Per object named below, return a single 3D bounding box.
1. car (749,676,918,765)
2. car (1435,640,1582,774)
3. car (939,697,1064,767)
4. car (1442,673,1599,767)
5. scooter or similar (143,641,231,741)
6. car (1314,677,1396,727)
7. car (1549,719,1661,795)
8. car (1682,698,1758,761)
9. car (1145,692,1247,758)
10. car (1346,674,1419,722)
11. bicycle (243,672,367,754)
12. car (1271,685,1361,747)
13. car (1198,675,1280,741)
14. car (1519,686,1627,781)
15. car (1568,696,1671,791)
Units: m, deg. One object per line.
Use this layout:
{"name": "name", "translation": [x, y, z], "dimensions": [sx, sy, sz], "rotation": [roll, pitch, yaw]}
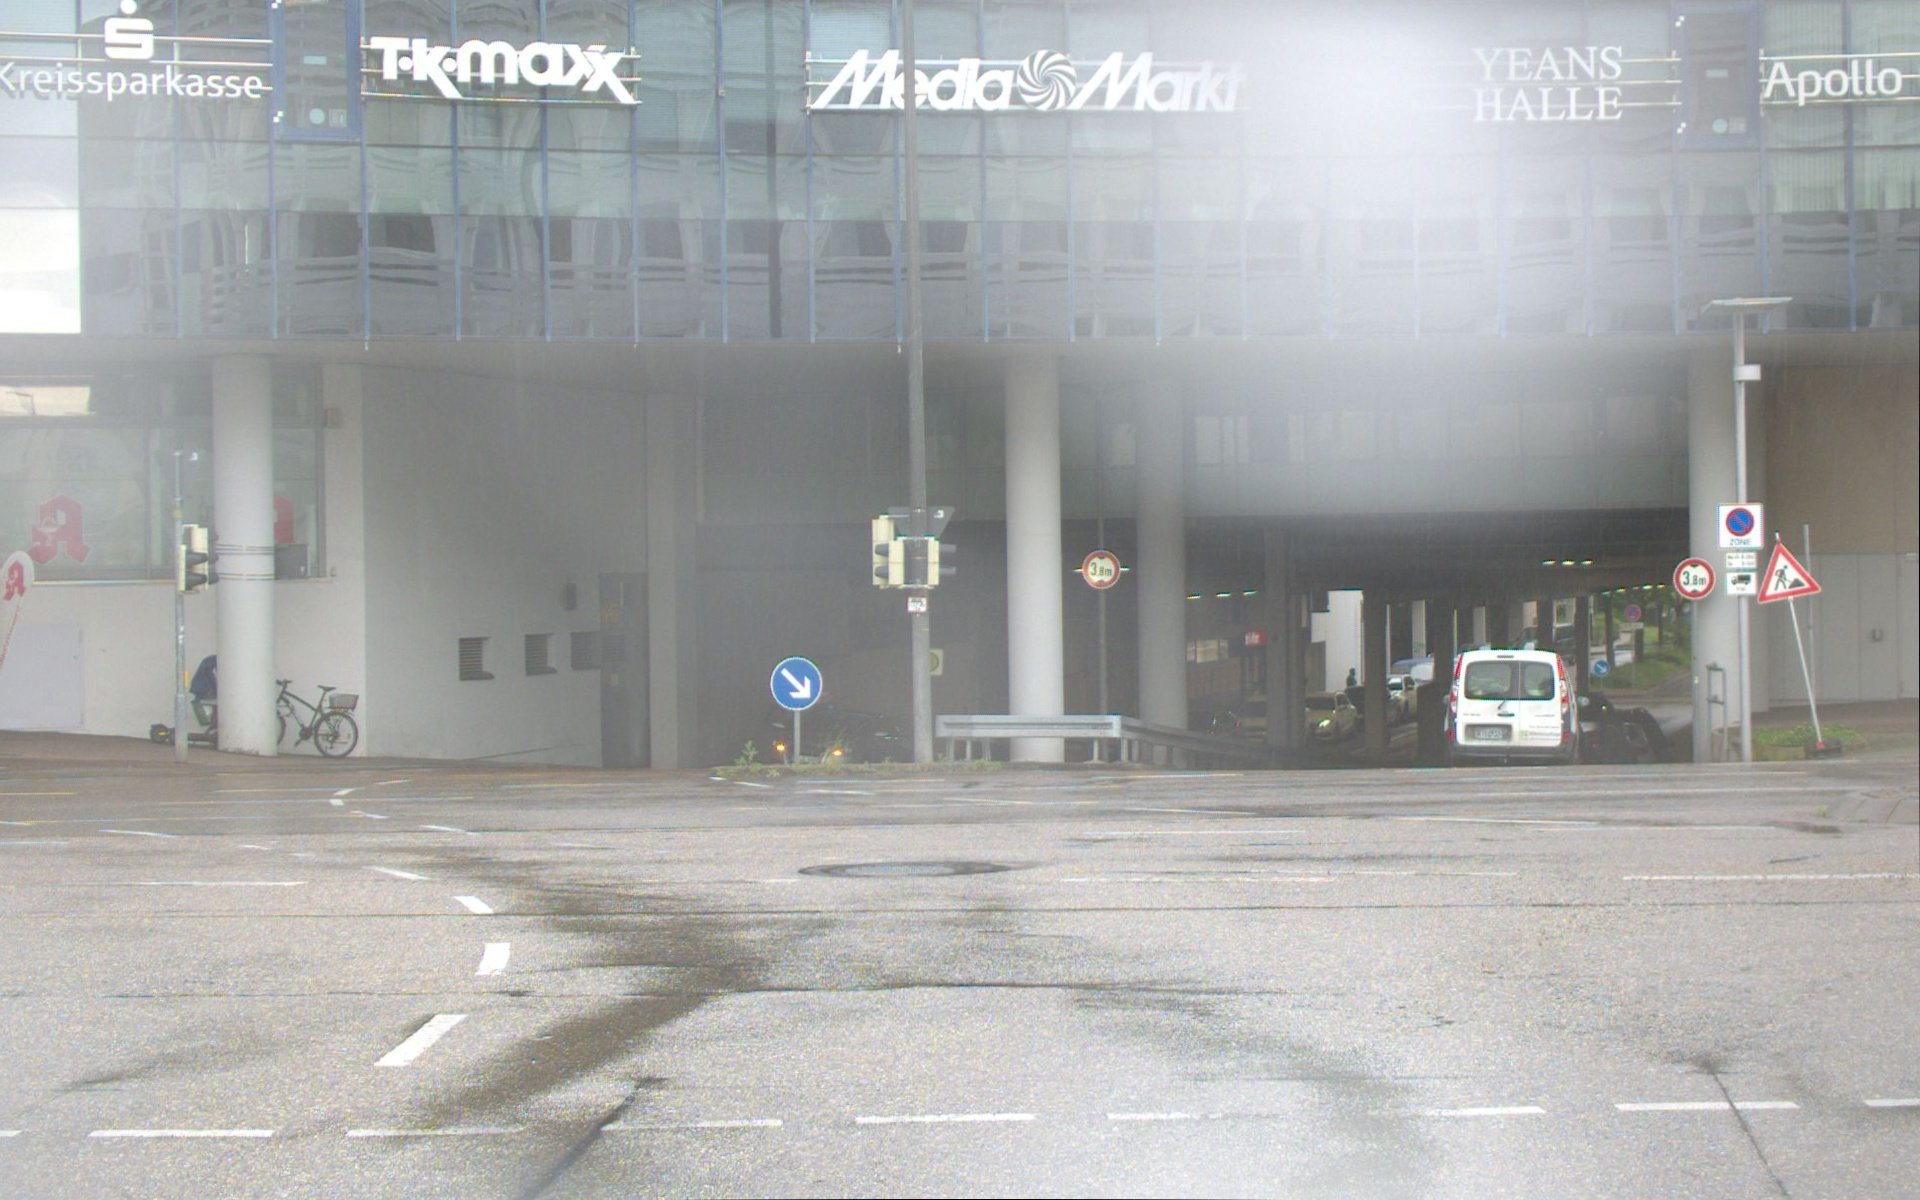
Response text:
{"name": "car", "translation": [-2.263, 2.220, 62.524], "dimensions": [1.894, 1.465, 4.023], "rotation": [-1, -4, 16]}
{"name": "car", "translation": [7.800, 1.492, 48.629], "dimensions": [1.926, 1.791, 4.294], "rotation": [-1, -1, 10]}
{"name": "car", "translation": [0.927, 2.851, 74.427], "dimensions": [1.772, 1.459, 3.872], "rotation": [-1, -2, 15]}
{"name": "car", "translation": [9.194, 1.987, 56.171], "dimensions": [1.759, 1.459, 3.938], "rotation": [-2, -3, 21]}
{"name": "scooter or similar", "translation": [-10.838, 1.273, 48.208], "dimensions": [1.166, 1.368, 0.489], "rotation": [1, 0, -15]}
{"name": "car", "translation": [12.600, 3.245, 109.511], "dimensions": [1.995, 1.459, 3.997], "rotation": [-1, -1, 15]}
{"name": "car", "translation": [12.411, 3.024, 65.989], "dimensions": [1.781, 1.396, 3.996], "rotation": [-1, -3, 15]}
{"name": "car", "translation": [20.122, 3.408, 90.897], "dimensions": [1.889, 1.486, 3.838], "rotation": [1, 0, 13]}
{"name": "car", "translation": [6.289, 3.303, 91.287], "dimensions": [1.916, 1.582, 3.936], "rotation": [-1, -1, 15]}
{"name": "car", "translation": [14.097, 3.246, 114.593], "dimensions": [1.994, 1.459, 3.998], "rotation": [-1, -1, 13]}
{"name": "bicycle", "translation": [-9.271, 1.602, 48.685], "dimensions": [1.581, 1.014, 0.452], "rotation": [6, -2, -31]}
{"name": "car", "translation": [10.575, 3.413, 101.874], "dimensions": [1.995, 1.658, 3.997], "rotation": [1, 0, 15]}
{"name": "car", "translation": [7.832, 3.008, 96.087], "dimensions": [1.837, 1.722, 3.998], "rotation": [0, 0, 11]}
{"name": "car", "translation": [10.919, 2.355, 61.043], "dimensions": [1.634, 1.606, 4.259], "rotation": [-2, -2, 13]}
{"name": "car", "translation": [13.592, 2.931, 70.748], "dimensions": [1.792, 1.764, 3.997], "rotation": [-1, -1, 14]}
